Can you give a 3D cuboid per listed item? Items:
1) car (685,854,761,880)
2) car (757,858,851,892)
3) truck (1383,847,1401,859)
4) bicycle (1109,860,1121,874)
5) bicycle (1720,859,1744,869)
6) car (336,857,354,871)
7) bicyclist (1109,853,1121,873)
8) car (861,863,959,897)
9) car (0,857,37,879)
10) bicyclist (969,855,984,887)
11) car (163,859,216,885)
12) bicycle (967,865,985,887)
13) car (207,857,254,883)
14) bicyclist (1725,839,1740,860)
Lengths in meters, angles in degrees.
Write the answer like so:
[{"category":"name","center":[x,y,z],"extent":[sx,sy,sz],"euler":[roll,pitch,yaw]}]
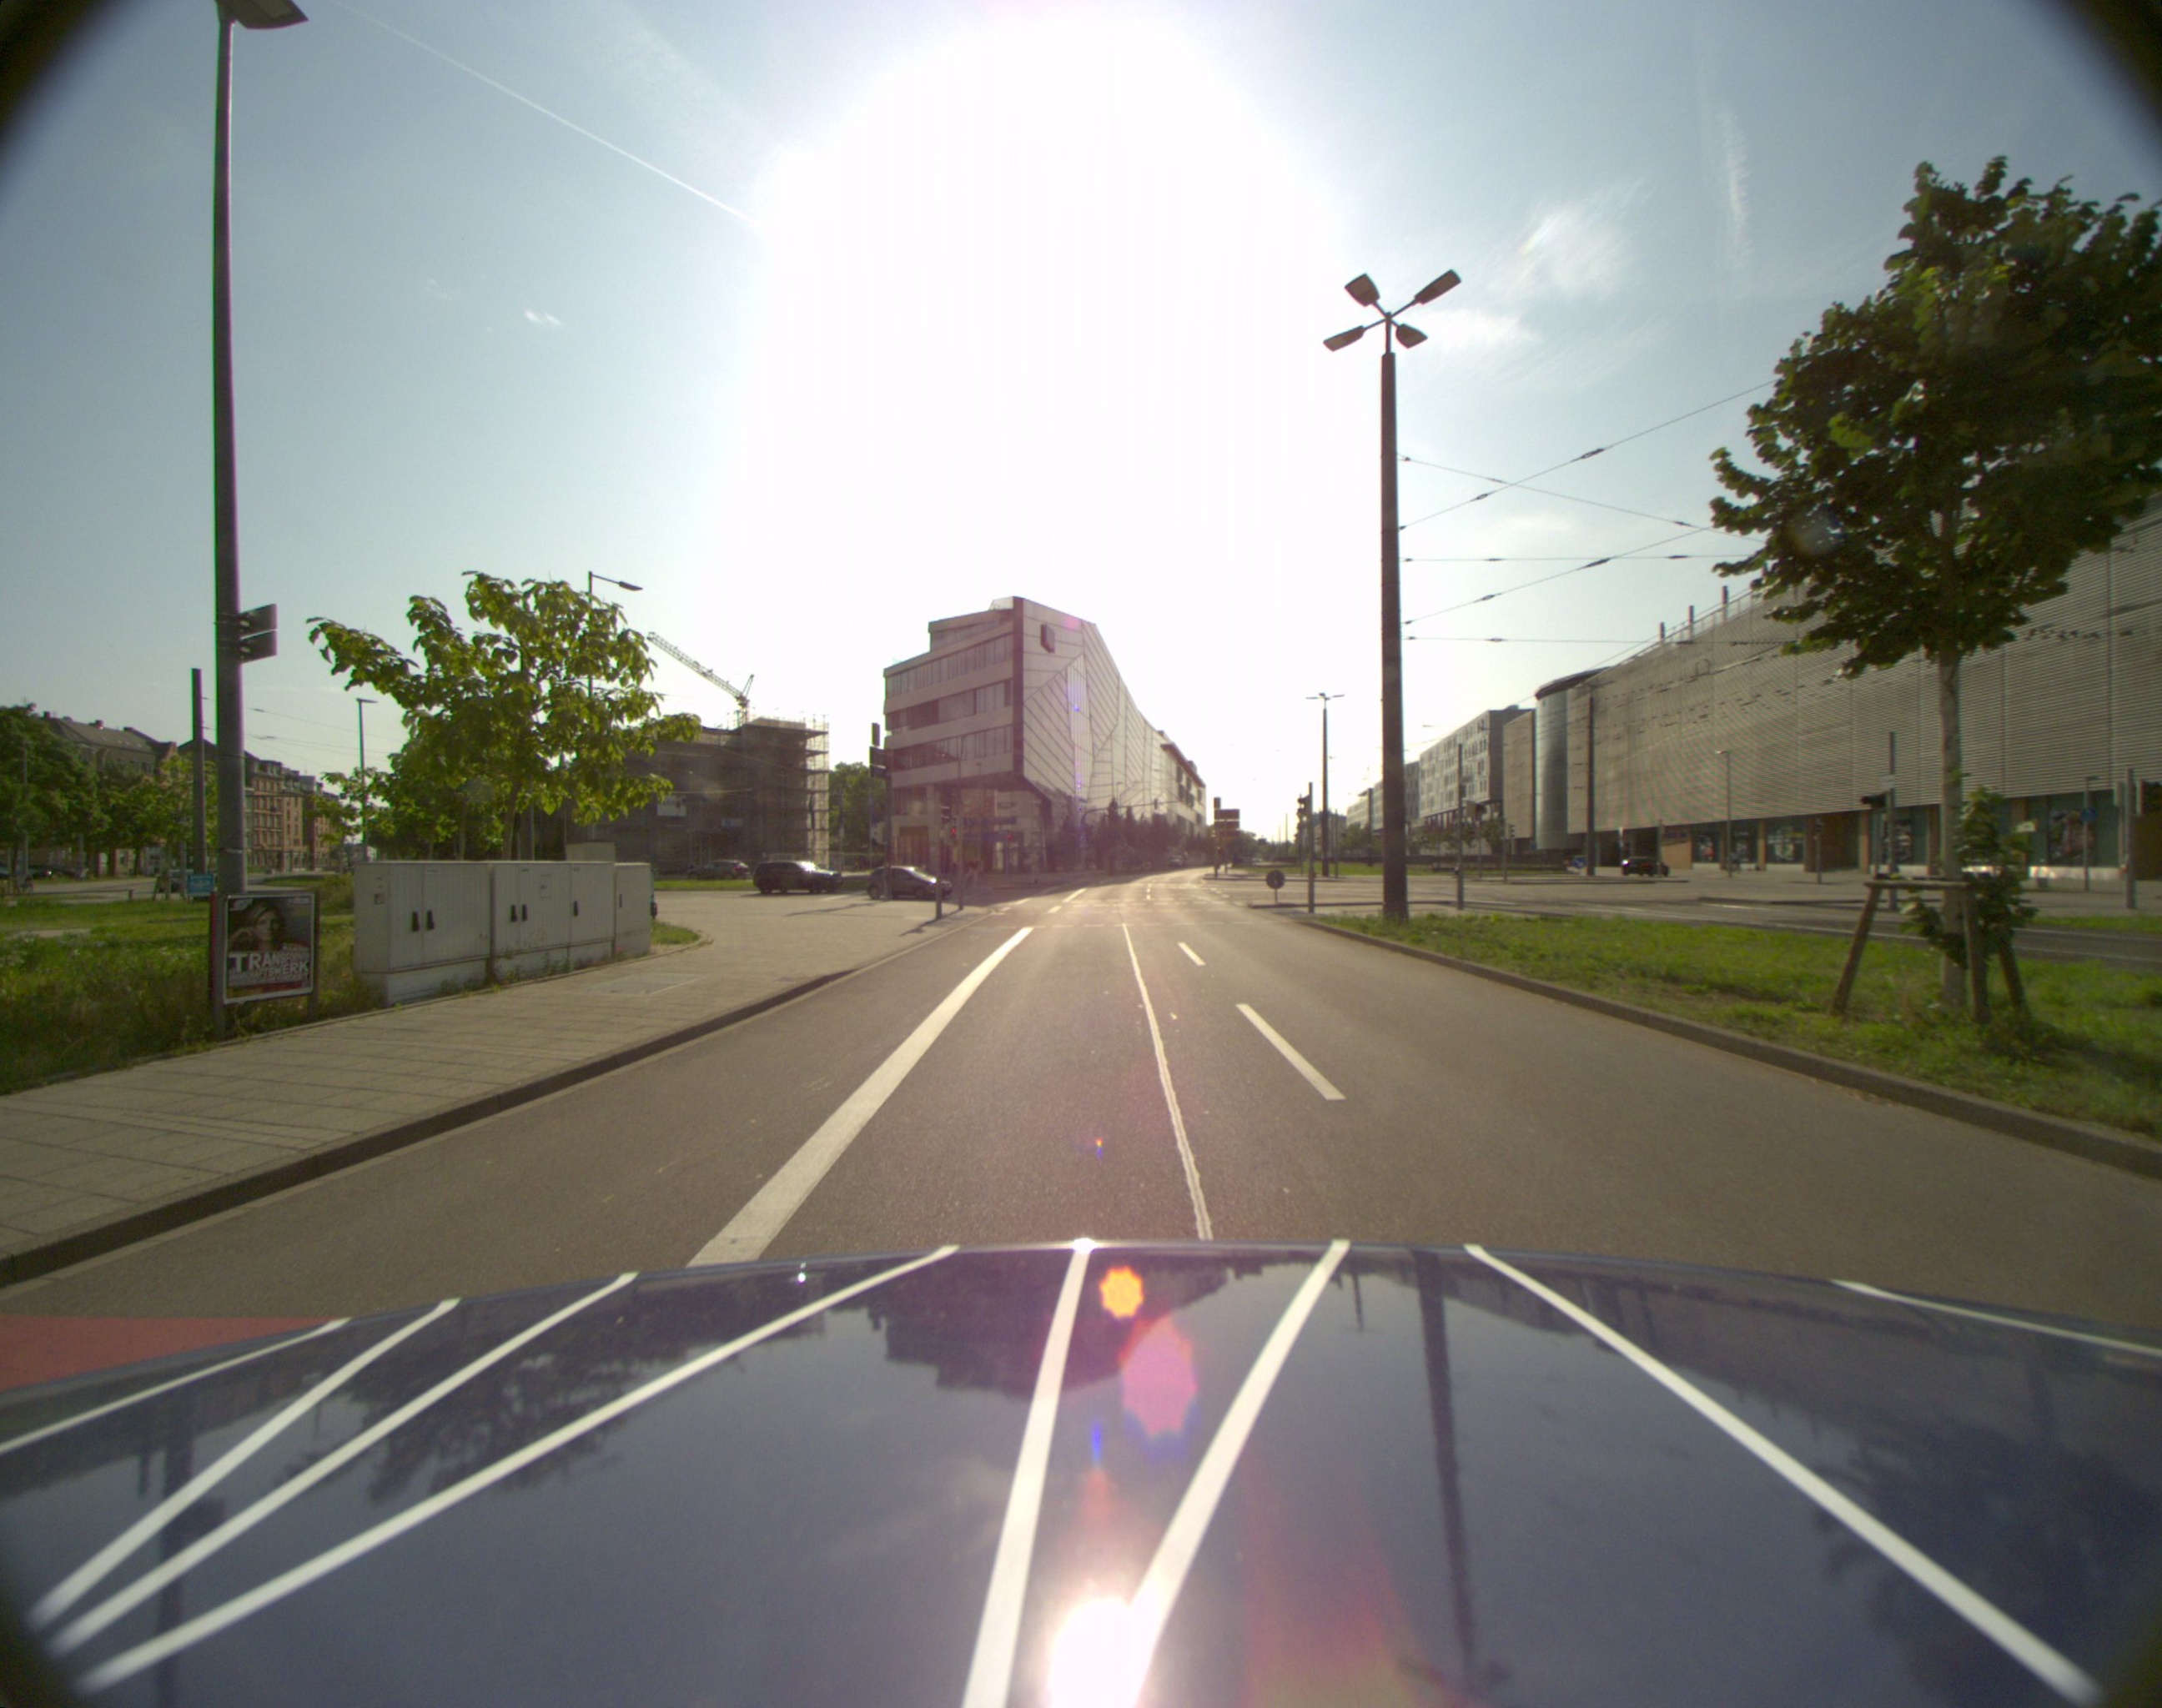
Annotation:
[{"category":"car","center":[-26.297,0.934,55.840],"extent":[4.807,1.773,1.956],"euler":[0,2,11]},{"category":"car","center":[-14.279,1.080,39.246],"extent":[4.214,1.668,1.805],"euler":[0,0,11]},{"category":"truck","center":[61.300,-0.137,149.675],"extent":[2.204,2.308,4.554],"euler":[0,0,8]},{"category":"bicycle","center":[2.826,1.045,63.153],"extent":[0.418,1.050,1.962],"euler":[1,2,19]},{"category":"bicycle","center":[50.238,0.756,58.612],"extent":[0.581,0.775,1.871],"euler":[0,0,12]},{"category":"car","center":[-119.990,1.619,123.890],"extent":[2.004,1.967,3.988],"euler":[-2,2,-43]},{"category":"bicyclist","center":[2.845,0.729,63.121],"extent":[0.782,1.577,0.933],"euler":[0,2,19]},{"category":"car","center":[-7.523,1.098,33.492],"extent":[3.886,1.411,1.647],"euler":[0,1,19]},{"category":"car","center":[-90.068,1.169,62.348],"extent":[1.719,1.827,4.932],"euler":[0,-1,10]},{"category":"bicyclist","center":[-5.625,0.908,40.877],"extent":[0.669,1.693,0.637],"euler":[0,2,2]},{"category":"car","center":[-57.503,1.157,49.055],"extent":[3.864,1.552,2.004],"euler":[-1,1,43]},{"category":"bicycle","center":[-5.631,1.167,40.790],"extent":[0.669,1.092,1.804],"euler":[0,2,2]},{"category":"car","center":[-68.172,1.249,60.965],"extent":[2.004,2.002,3.989],"euler":[-1,0,-41]},{"category":"bicyclist","center":[50.229,-0.349,58.565],"extent":[0.568,1.621,0.715],"euler":[0,2,11]}]
